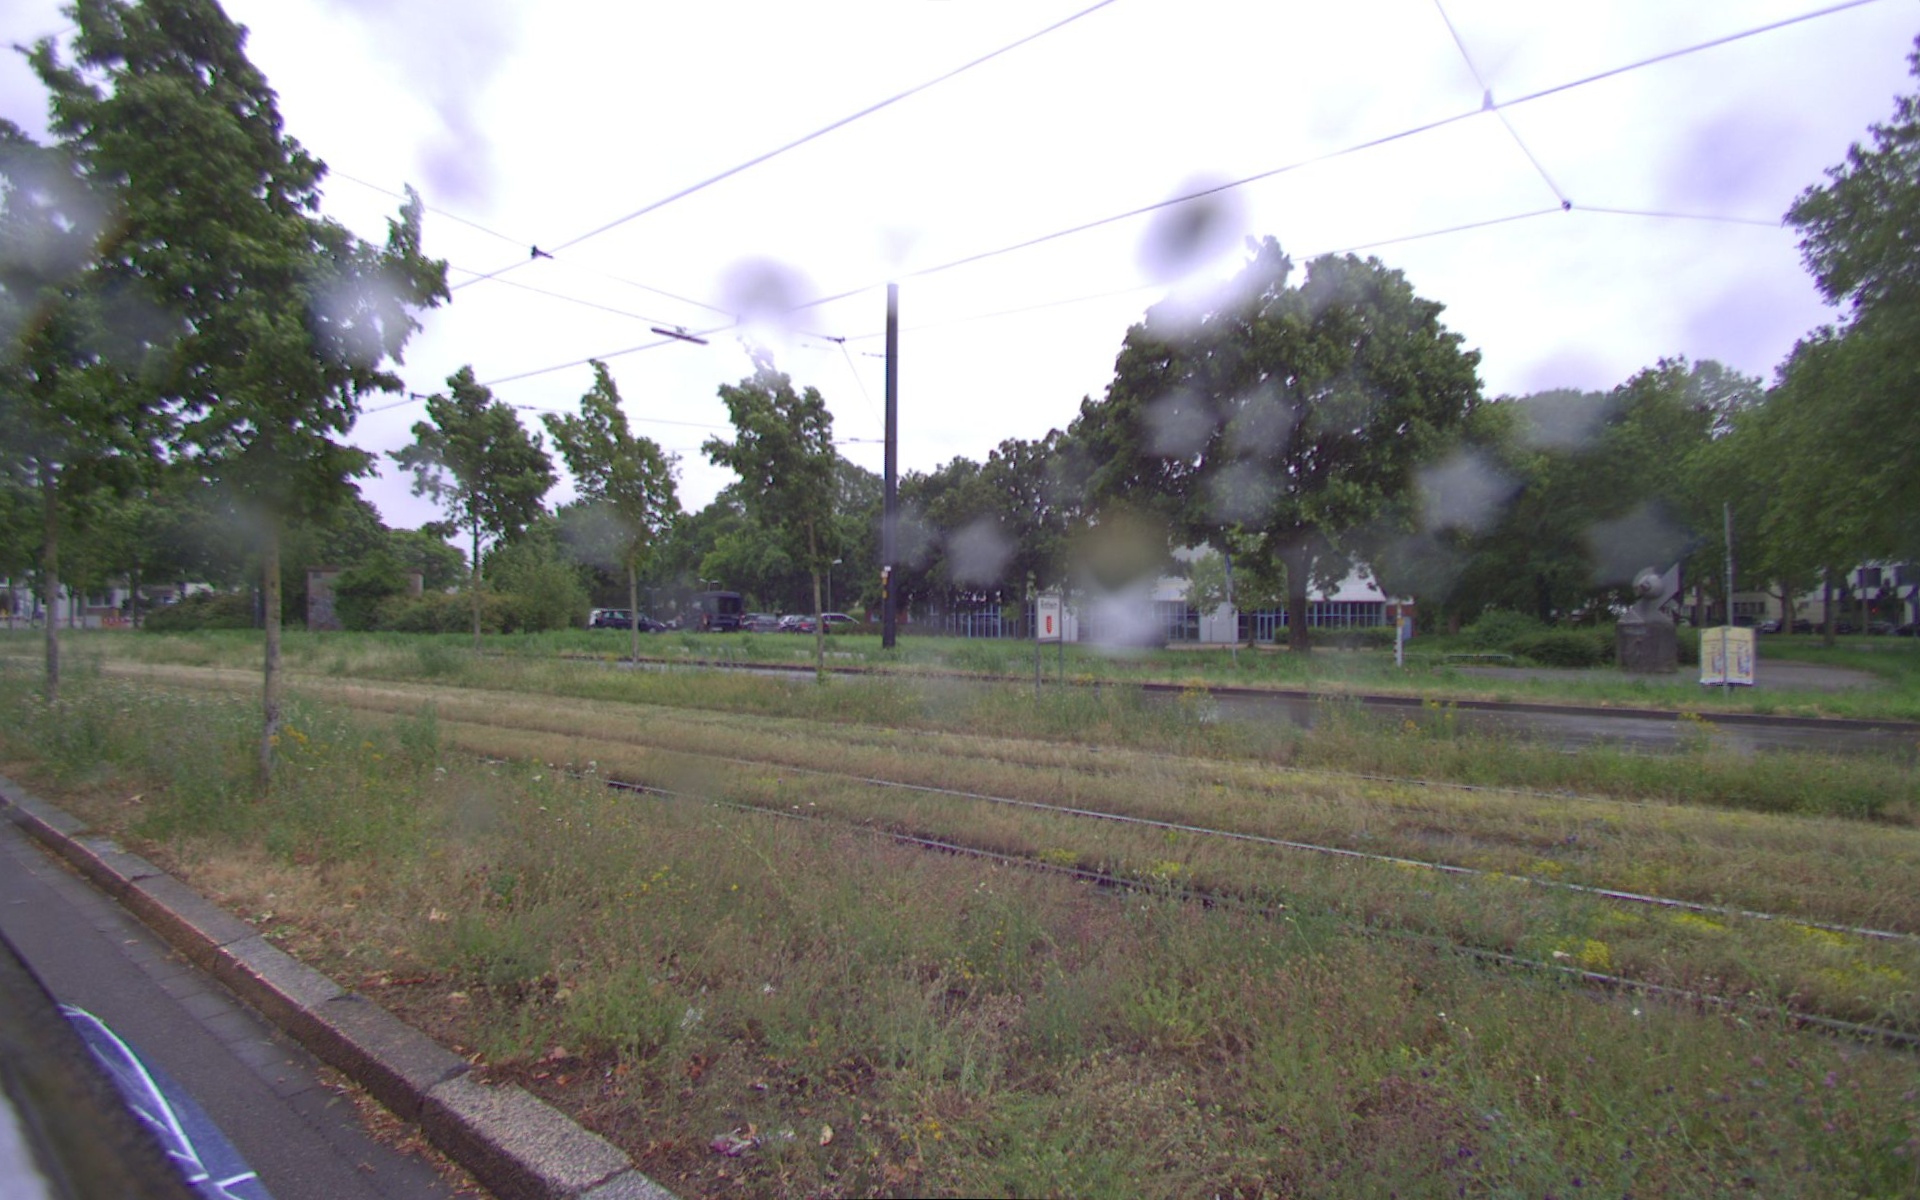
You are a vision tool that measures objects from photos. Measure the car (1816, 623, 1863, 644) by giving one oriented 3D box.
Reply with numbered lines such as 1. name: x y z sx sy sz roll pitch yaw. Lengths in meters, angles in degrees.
1. car: 81.673 3.109 94.048 1.986 1.796 3.972 -1 0 21

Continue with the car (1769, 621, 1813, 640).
1. car: 82.994 3.030 101.145 1.982 1.796 3.979 -1 0 16

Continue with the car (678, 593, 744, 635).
1. car: -12.819 0.707 51.932 2.273 2.029 5.134 -1 0 -25

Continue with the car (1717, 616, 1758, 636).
1. car: 86.358 2.839 112.504 2.108 2.104 3.982 -1 0 14

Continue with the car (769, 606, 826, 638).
1. car: -8.789 1.156 54.399 2.026 1.584 5.032 -1 0 -21

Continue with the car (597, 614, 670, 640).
1. car: -20.018 1.646 62.053 4.110 1.494 1.789 -1 0 -23

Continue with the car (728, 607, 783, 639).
1. car: -10.901 1.182 53.705 1.726 1.542 4.865 -1 0 -25
